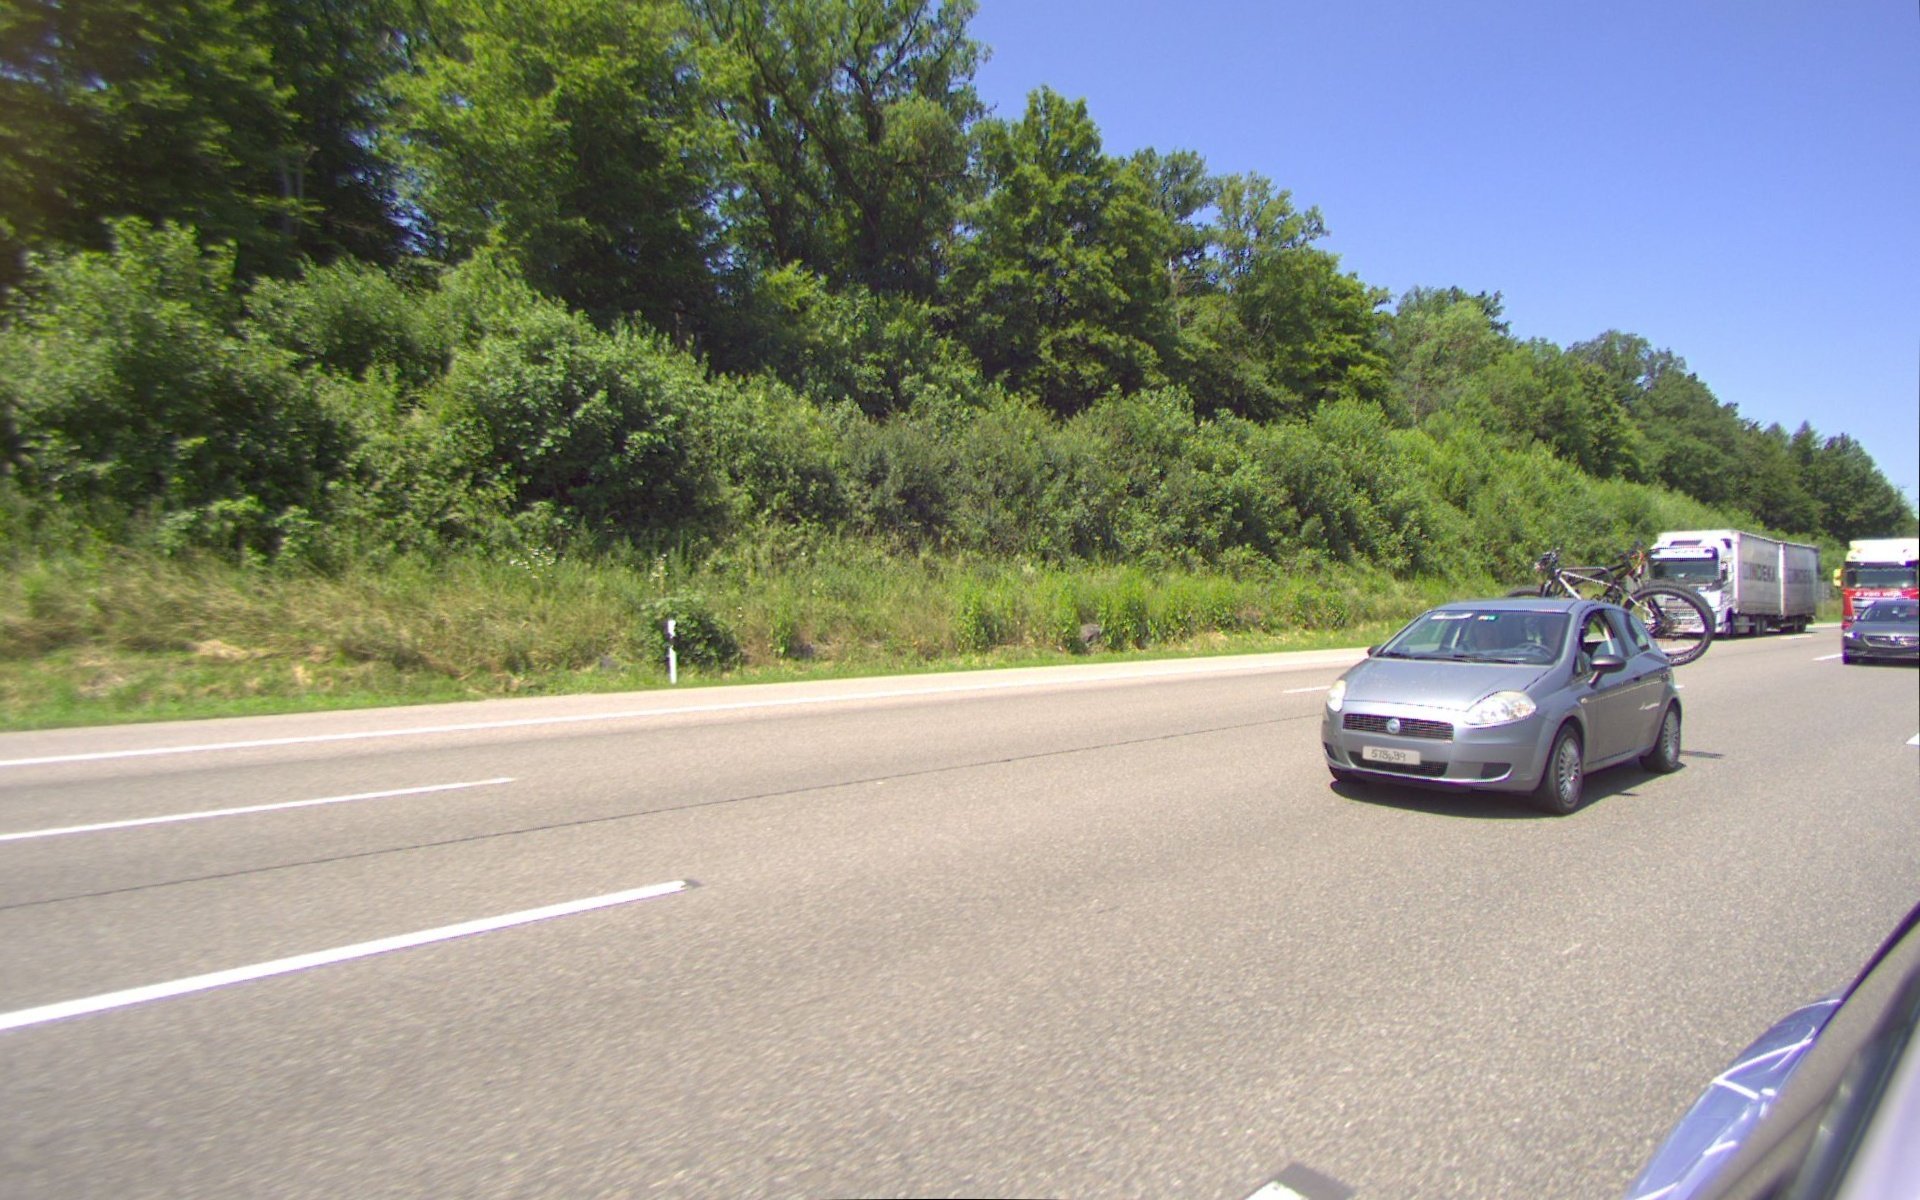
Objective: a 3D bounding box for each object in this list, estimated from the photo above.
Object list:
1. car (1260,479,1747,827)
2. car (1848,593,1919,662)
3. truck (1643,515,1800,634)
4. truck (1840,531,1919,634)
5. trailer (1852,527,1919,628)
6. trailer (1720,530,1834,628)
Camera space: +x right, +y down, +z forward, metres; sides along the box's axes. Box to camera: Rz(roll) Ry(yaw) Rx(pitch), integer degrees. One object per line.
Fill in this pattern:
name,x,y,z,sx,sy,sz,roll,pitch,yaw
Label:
car,4.658,0.312,8.329,4.699,2.080,1.965,0,0,-41
car,22.231,0.577,23.277,5.131,1.471,1.970,0,-1,-40
truck,30.626,-0.916,40.454,10.776,4.214,2.727,0,-1,-41
truck,40.066,-0.675,43.028,7.407,4.032,3.016,1,0,-41
trailer,45.007,-0.907,47.290,14.586,4.195,2.925,1,1,-41
trailer,37.514,-0.882,46.345,8.235,4.122,2.583,0,-1,-41
